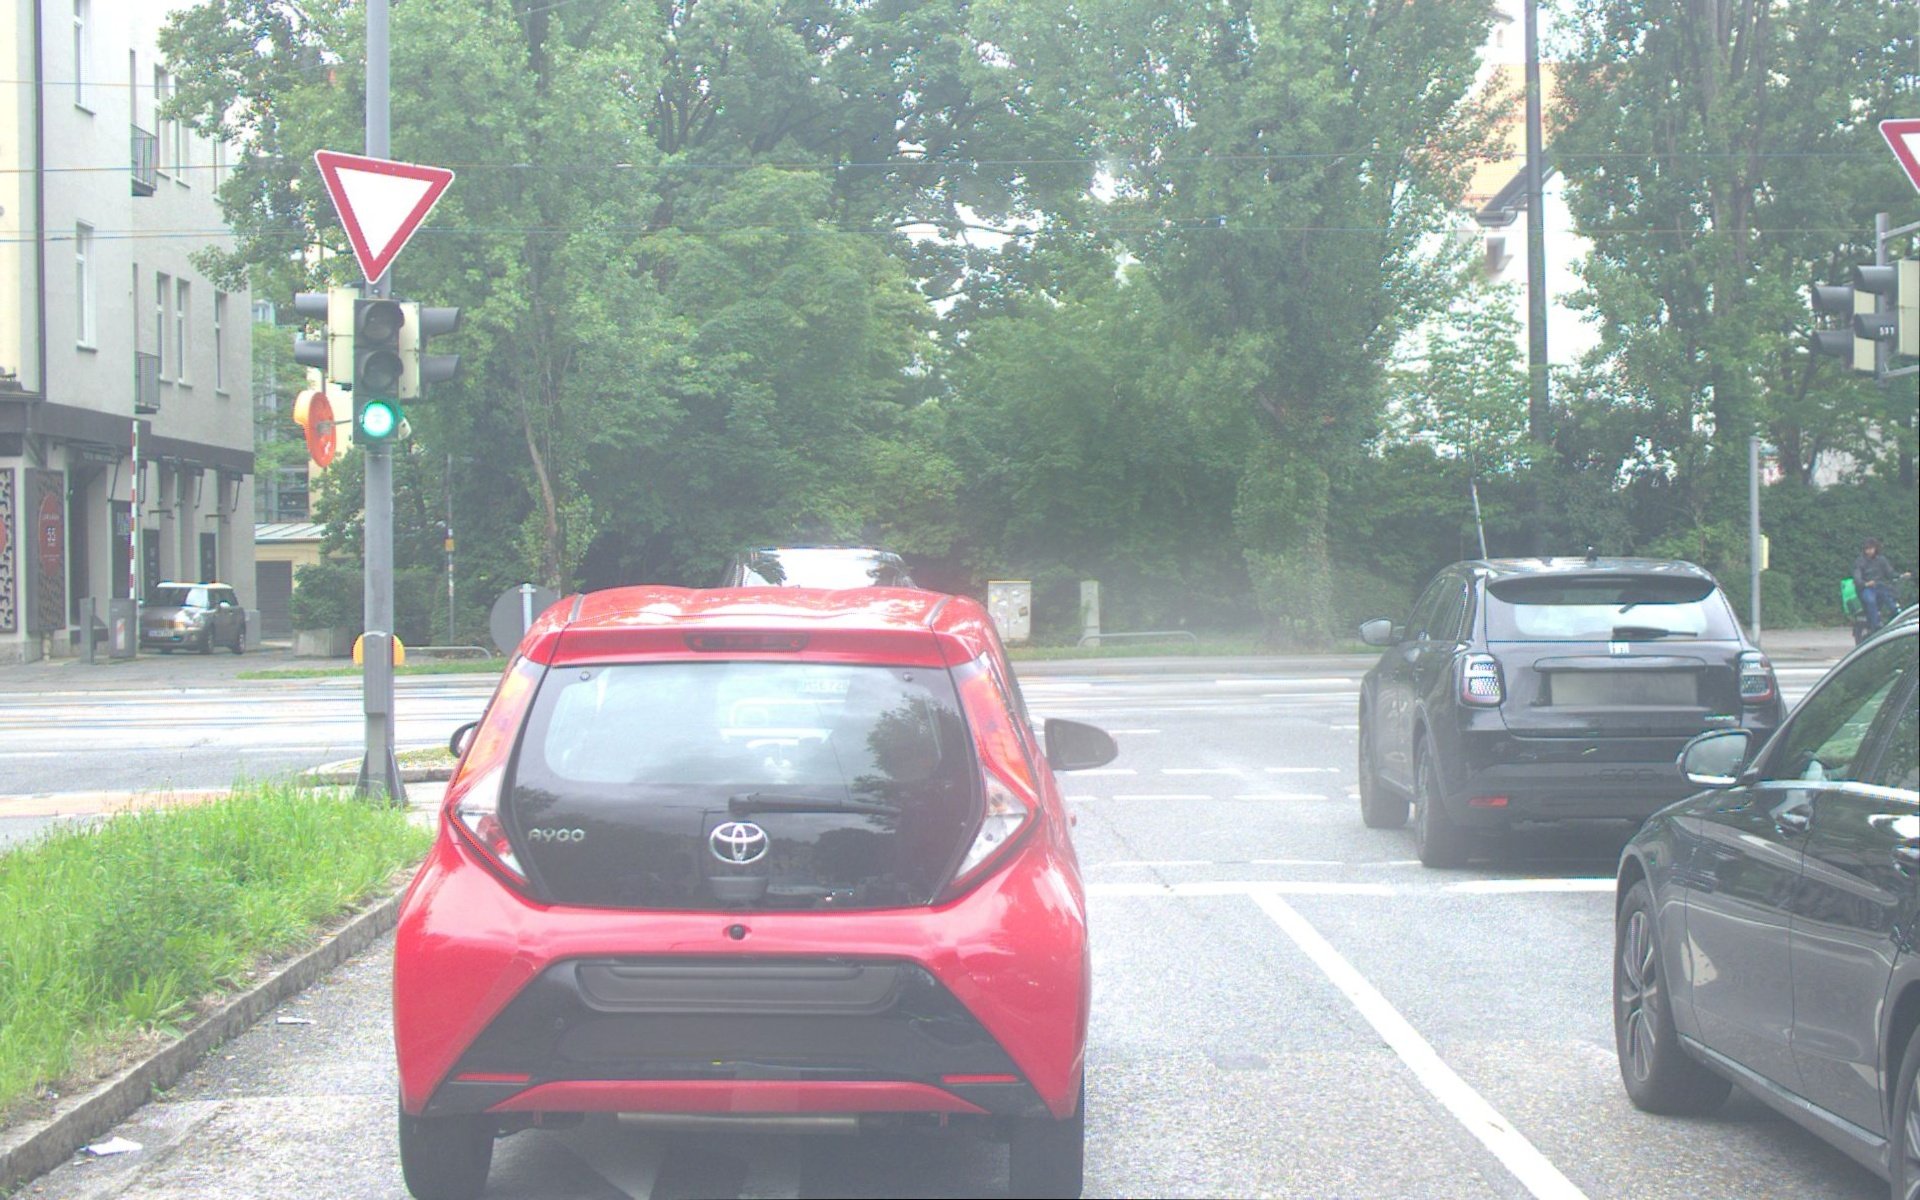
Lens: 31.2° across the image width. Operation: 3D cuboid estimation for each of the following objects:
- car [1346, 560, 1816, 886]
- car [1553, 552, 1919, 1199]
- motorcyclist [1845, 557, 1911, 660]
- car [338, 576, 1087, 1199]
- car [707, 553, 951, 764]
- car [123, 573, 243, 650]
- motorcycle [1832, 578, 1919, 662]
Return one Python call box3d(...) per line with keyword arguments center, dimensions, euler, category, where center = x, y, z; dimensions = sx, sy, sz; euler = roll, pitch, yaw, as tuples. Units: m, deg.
box3d(center=(3.104, 0.565, 17.956), dimensions=(1.781, 1.481, 4.000), euler=(-1, 0, 1), category="car")
box3d(center=(2.722, 0.680, 7.880), dimensions=(1.863, 1.544, 4.704), euler=(1, 1, 0), category="car")
box3d(center=(13.032, 0.119, 48.830), dimensions=(0.618, 1.438, 0.882), euler=(1, 0, -6), category="motorcyclist")
box3d(center=(-0.524, 0.673, 9.245), dimensions=(1.628, 1.435, 3.376), euler=(-1, 1, 1), category="car")
box3d(center=(-0.982, 0.409, 27.936), dimensions=(1.736, 1.544, 4.576), euler=(-1, 1, 1), category="car")
box3d(center=(-15.395, 0.204, 68.269), dimensions=(1.725, 1.437, 4.001), euler=(-1, 1, -4), category="car")
box3d(center=(13.040, 0.279, 48.791), dimensions=(0.628, 1.165, 2.030), euler=(1, 0, -5), category="motorcycle")
